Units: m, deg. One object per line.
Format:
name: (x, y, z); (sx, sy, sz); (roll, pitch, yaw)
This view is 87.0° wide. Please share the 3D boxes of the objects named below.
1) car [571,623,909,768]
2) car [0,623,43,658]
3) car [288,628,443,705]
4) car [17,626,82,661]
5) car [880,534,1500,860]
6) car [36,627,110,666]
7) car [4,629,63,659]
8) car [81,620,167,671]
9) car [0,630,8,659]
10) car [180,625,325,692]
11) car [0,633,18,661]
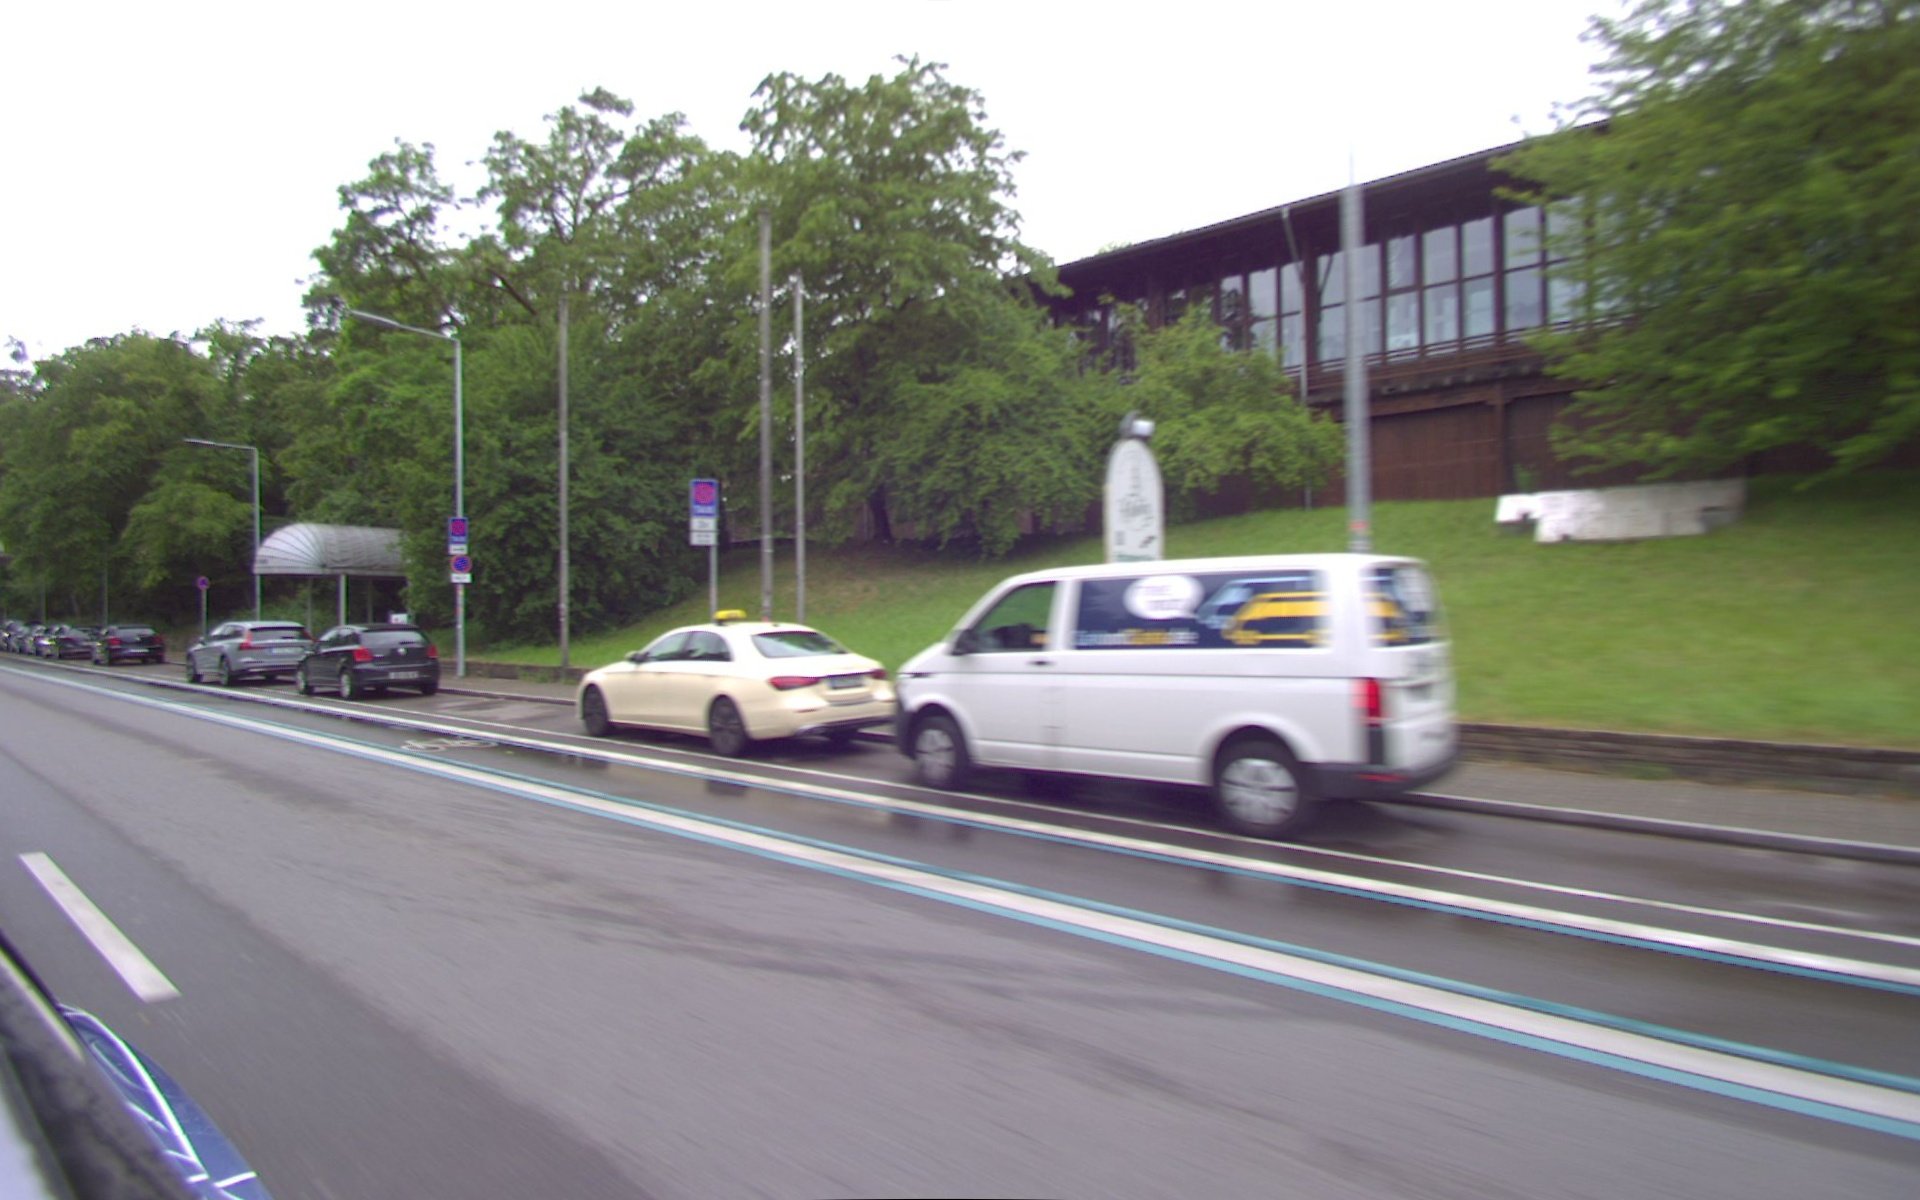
car: (-2.844, 1.013, 12.399); (4.593, 1.459, 1.708); (-1, -2, 42)
car: (-52.184, 2.265, 55.907); (3.741, 1.874, 1.799); (-3, -3, 41)
car: (-12.023, 1.270, 20.391); (3.584, 1.382, 1.658); (-1, -2, 41)
car: (-43.089, 2.059, 47.846); (4.231, 1.582, 1.799); (-3, -3, 41)
car: (1.662, 0.643, 8.435); (4.731, 1.992, 1.853); (-1, -2, 40)
car: (-37.534, 1.944, 42.793); (4.540, 1.554, 1.799); (-3, -3, 41)
car: (-47.646, 2.255, 52.045); (4.124, 1.492, 1.799); (-3, -3, 41)
car: (-30.553, 1.648, 36.951); (3.998, 1.779, 1.799); (-3, -3, 41)
car: (-59.796, 2.770, 62.021); (3.741, 1.751, 1.799); (-3, -3, 41)
car: (-17.203, 1.353, 24.544); (4.323, 1.479, 1.772); (-1, -2, 39)
car: (-56.611, 2.752, 59.253); (3.741, 1.625, 1.799); (-3, -3, 41)
